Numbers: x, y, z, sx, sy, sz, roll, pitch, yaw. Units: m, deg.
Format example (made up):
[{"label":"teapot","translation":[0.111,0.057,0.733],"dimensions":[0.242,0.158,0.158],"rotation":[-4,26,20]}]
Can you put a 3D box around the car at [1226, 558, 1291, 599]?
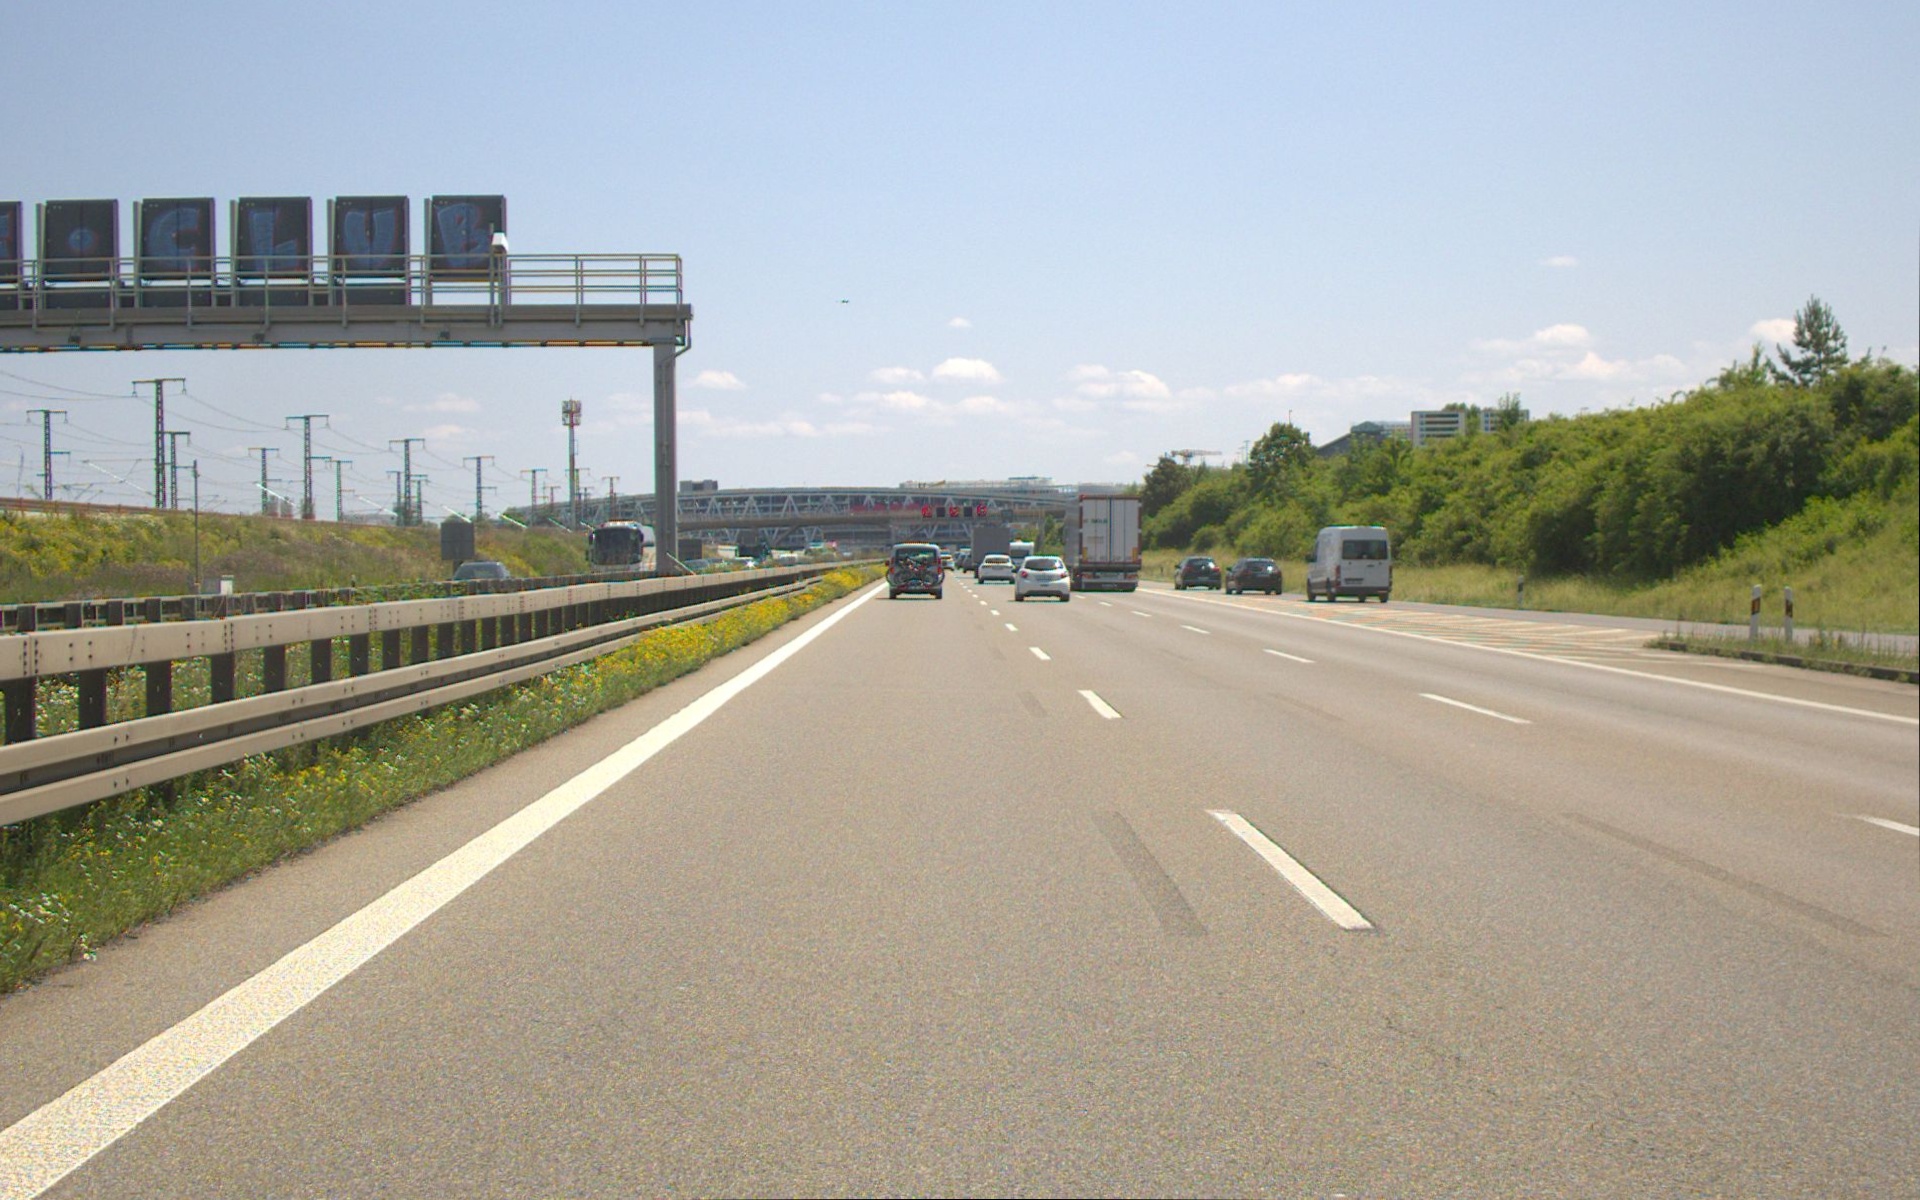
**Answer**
[{"label":"car","translation":[11.787,-0.832,135.814],"dimensions":[1.993,1.503,4.000],"rotation":[2,-1,-3]}]

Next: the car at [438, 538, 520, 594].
[{"label":"car","translation":[-13.806,-0.991,98.800],"dimensions":[1.804,1.568,4.000],"rotation":[0,1,0]}]

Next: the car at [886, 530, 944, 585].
[{"label":"car","translation":[-1.477,-1.387,114.409],"dimensions":[1.881,1.769,4.000],"rotation":[0,0,0]}]

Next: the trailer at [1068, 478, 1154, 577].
[{"label":"trailer","translation":[6.363,-3.046,146.276],"dimensions":[3.177,4.046,9.440],"rotation":[-1,1,0]}]

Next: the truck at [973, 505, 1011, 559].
[{"label":"truck","translation":[2.022,-4.375,221.422],"dimensions":[2.355,3.404,6.057],"rotation":[0,1,0]}]

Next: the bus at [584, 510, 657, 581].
[{"label":"bus","translation":[-18.359,-2.973,186.459],"dimensions":[2.857,3.633,10.941],"rotation":[2,1,-1]}]

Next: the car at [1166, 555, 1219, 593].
[{"label":"car","translation":[10.526,-1.155,155.905],"dimensions":[1.993,1.590,4.000],"rotation":[2,-1,-1]}]

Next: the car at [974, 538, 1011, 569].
[{"label":"car","translation":[1.708,-2.412,178.715],"dimensions":[1.881,1.521,4.000],"rotation":[1,0,1]}]

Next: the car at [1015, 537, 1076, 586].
[{"label":"car","translation":[2.792,-1.223,111.592],"dimensions":[1.881,1.521,4.000],"rotation":[1,0,2]}]

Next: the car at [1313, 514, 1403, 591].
[{"label":"car","translation":[13.531,-1.623,117.135],"dimensions":[2.274,2.519,5.400],"rotation":[0,1,-1]}]
